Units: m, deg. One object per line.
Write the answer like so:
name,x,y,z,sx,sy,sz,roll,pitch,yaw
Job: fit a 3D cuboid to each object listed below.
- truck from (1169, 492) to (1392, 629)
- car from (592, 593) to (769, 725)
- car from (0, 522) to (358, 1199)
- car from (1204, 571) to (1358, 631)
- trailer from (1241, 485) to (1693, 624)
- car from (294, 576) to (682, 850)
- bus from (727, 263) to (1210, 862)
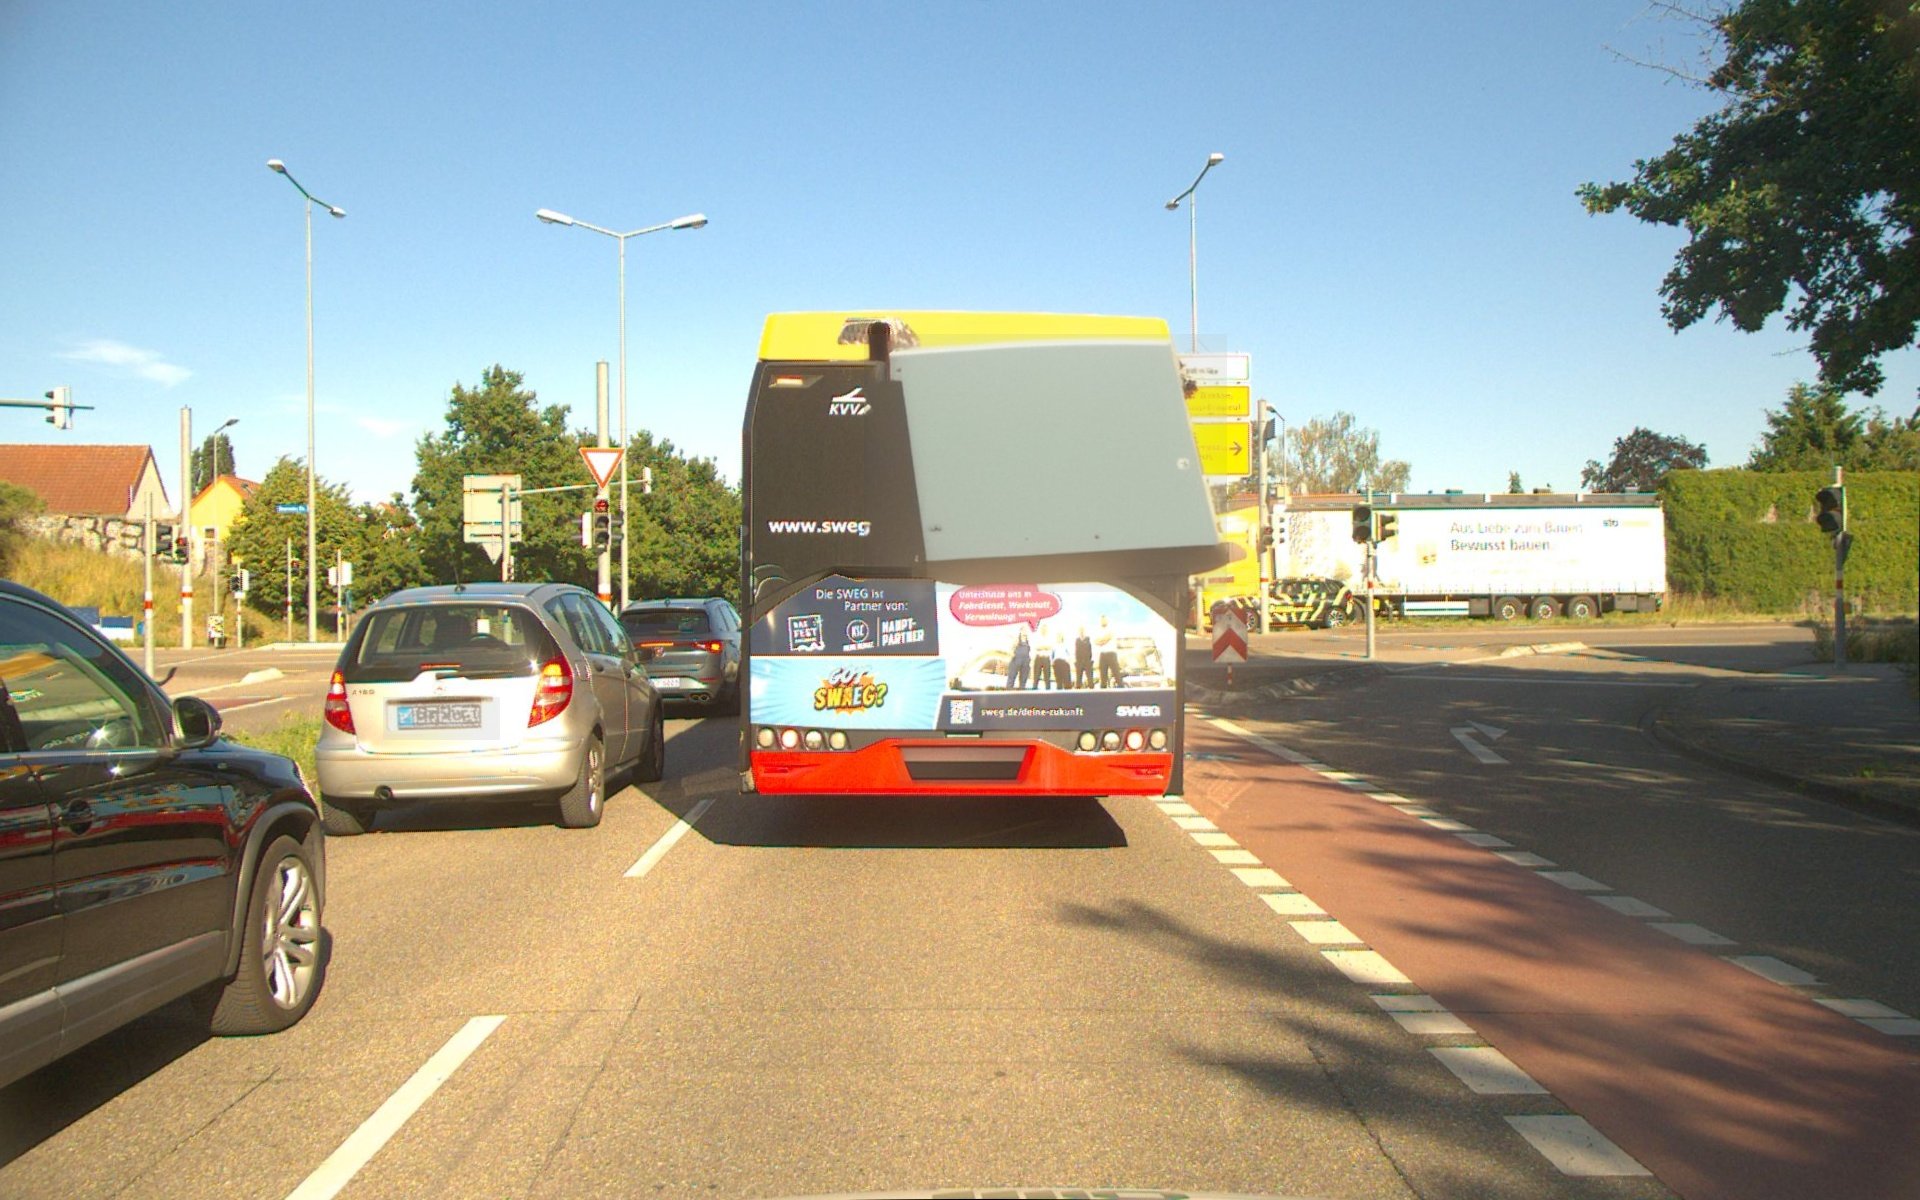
truck,10.515,-1.273,54.744,6.354,4.082,3.435,-3,0,-8
car,-3.455,0.674,21.054,1.658,1.484,3.750,-2,0,-1
car,-3.152,0.685,4.299,1.736,1.682,3.999,-2,0,-1
car,9.231,0.037,47.658,3.989,1.552,1.766,-2,0,-6
trailer,16.983,-1.522,55.688,14.382,4.083,3.434,-2,0,-8
car,-3.224,0.680,12.125,1.725,1.617,3.999,-2,0,-1
bus,0.015,-0.254,14.888,2.589,3.222,11.860,0,0,0
